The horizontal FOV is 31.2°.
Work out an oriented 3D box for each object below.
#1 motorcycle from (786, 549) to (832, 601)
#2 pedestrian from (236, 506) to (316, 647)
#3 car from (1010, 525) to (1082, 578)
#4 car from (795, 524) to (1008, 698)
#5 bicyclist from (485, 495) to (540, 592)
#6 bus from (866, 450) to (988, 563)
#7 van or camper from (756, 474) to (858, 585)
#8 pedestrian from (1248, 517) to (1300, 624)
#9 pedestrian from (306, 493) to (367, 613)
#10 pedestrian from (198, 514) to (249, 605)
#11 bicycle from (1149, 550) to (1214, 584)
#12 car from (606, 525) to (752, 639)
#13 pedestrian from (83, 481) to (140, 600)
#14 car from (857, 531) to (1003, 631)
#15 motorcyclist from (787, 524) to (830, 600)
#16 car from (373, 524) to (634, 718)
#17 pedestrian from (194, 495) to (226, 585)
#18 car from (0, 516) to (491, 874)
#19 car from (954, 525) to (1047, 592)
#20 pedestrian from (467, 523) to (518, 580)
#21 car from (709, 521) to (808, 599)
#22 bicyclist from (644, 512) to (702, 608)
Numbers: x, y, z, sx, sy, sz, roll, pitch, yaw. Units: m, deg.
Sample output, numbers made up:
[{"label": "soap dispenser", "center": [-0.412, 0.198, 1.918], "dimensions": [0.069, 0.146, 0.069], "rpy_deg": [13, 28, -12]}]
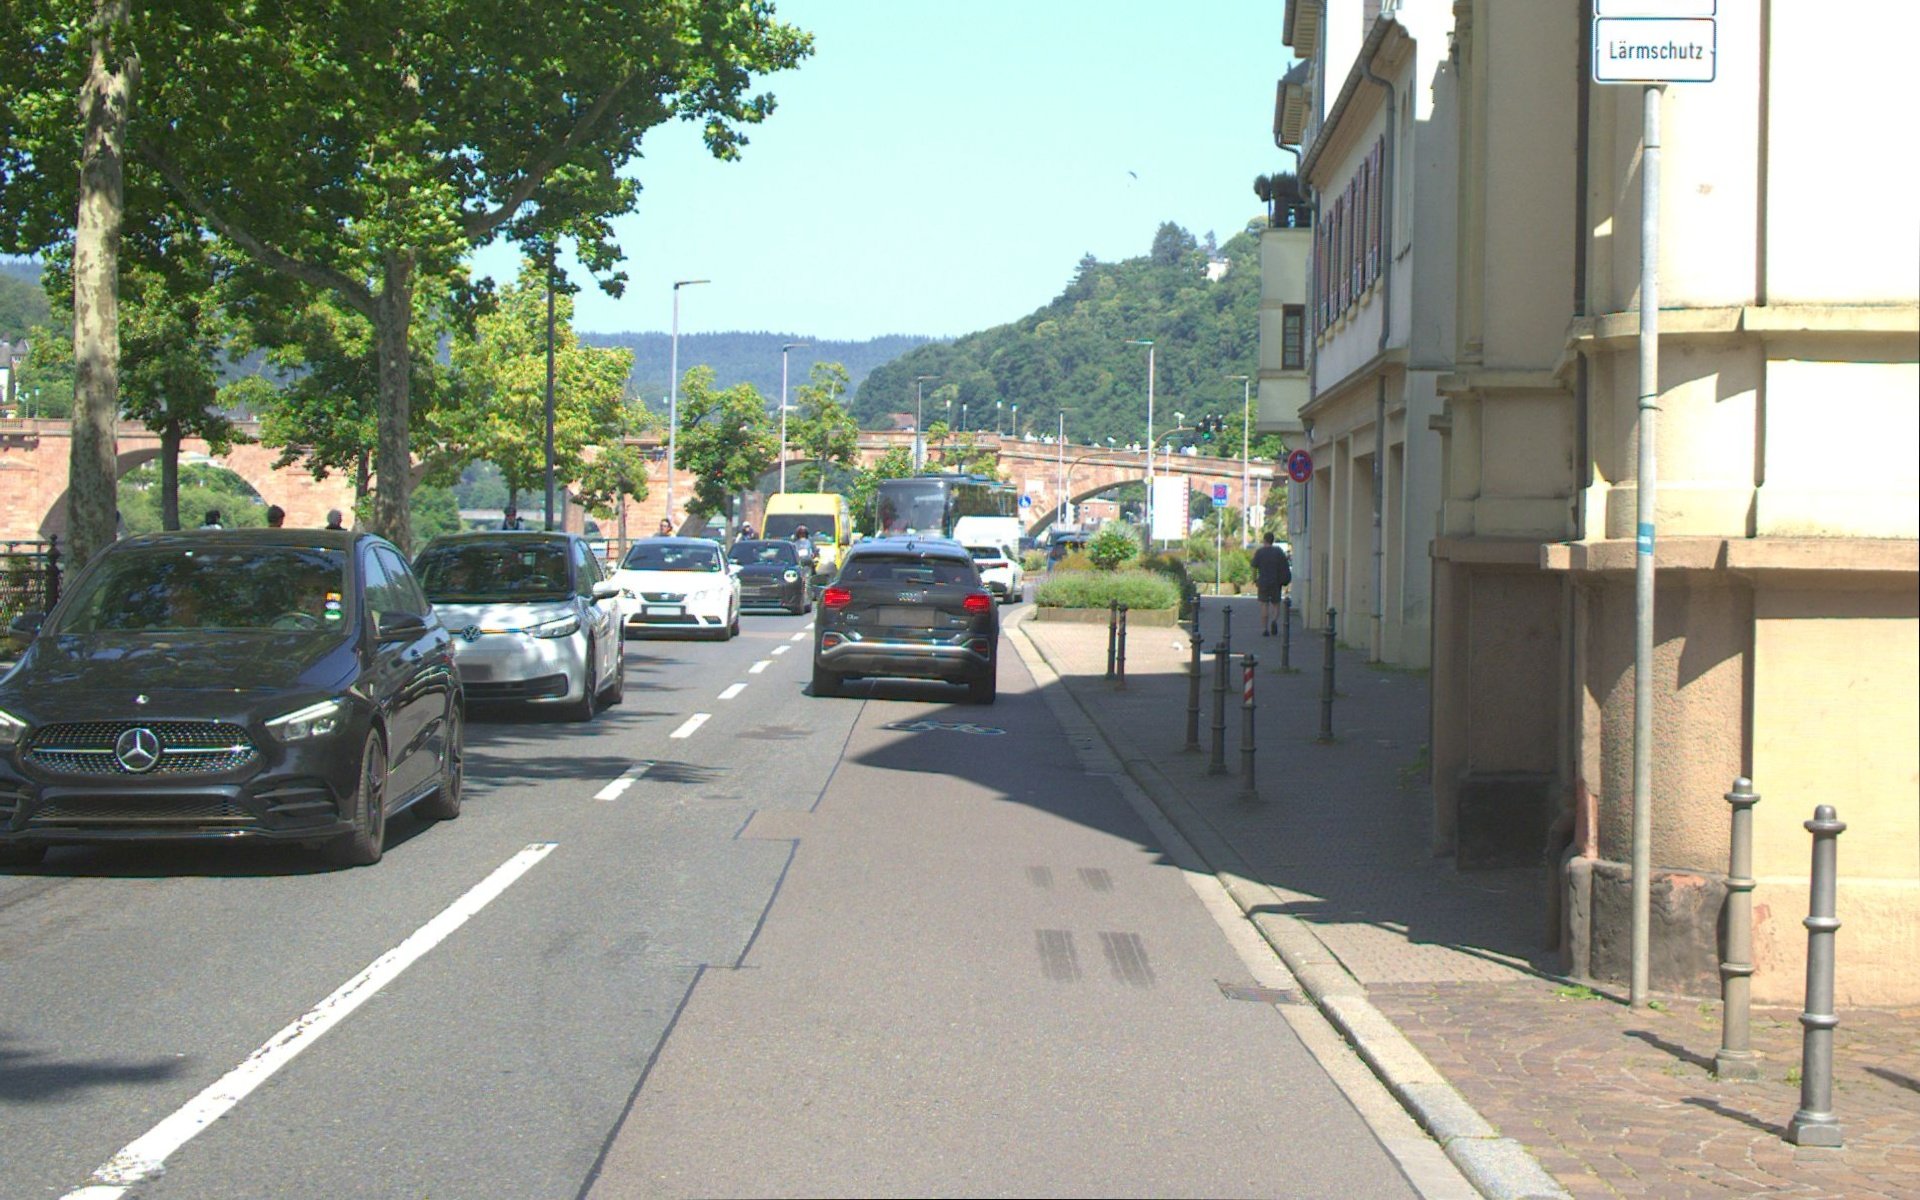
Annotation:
[{"label": "motorcycle", "center": [-3.218, -0.543, 73.205], "dimensions": [0.883, 1.073, 2.328], "rpy_deg": [0, 1, -4]}, {"label": "pedestrian", "center": [-7.808, -0.269, 39.288], "dimensions": [0.761, 1.581, 0.696], "rpy_deg": [1, 1, -1]}, {"label": "car", "center": [2.593, -1.476, 102.572], "dimensions": [1.927, 1.548, 4.831], "rpy_deg": [0, 1, 4]}, {"label": "car", "center": [-0.549, 0.082, 34.565], "dimensions": [1.926, 1.548, 4.832], "rpy_deg": [3, 0, 0]}, {"label": "bicyclist", "center": [-7.391, -0.928, 56.758], "dimensions": [0.719, 1.578, 1.089], "rpy_deg": [1, 1, 1]}, {"label": "bus", "center": [-1.015, -3.075, 116.906], "dimensions": [2.632, 3.552, 12.980], "rpy_deg": [1, 0, 6]}, {"label": "van or camper", "center": [-3.717, -1.726, 84.722], "dimensions": [2.087, 2.548, 7.092], "rpy_deg": [2, 1, 0]}, {"label": "pedestrian", "center": [5.112, -0.480, 56.066], "dimensions": [0.762, 1.708, 0.696], "rpy_deg": [-2, 1, 3]}, {"label": "pedestrian", "center": [-8.976, -0.672, 49.535], "dimensions": [0.656, 1.676, 0.758], "rpy_deg": [4, 1, -1]}, {"label": "pedestrian", "center": [-13.193, -0.729, 61.590], "dimensions": [0.694, 1.610, 0.663], "rpy_deg": [1, 1, 7]}, {"label": "bicycle", "center": [6.344, -0.937, 98.686], "dimensions": [1.810, 0.875, 0.502], "rpy_deg": [3, 2, 3]}, {"label": "car", "center": [-4.023, -0.293, 49.721], "dimensions": [1.701, 1.440, 4.092], "rpy_deg": [2, 2, 0]}, {"label": "pedestrian", "center": [-13.914, -0.976, 56.397], "dimensions": [0.693, 1.938, 0.887], "rpy_deg": [1, 1, -1]}, {"label": "car", "center": [-0.423, -0.333, 54.152], "dimensions": [1.927, 1.456, 4.831], "rpy_deg": [1, 1, 4]}, {"label": "motorcyclist", "center": [-3.213, -0.809, 72.986], "dimensions": [0.878, 1.578, 1.025], "rpy_deg": [1, 1, -2]}, {"label": "car", "center": [-3.783, 0.128, 29.099], "dimensions": [1.735, 1.513, 4.405], "rpy_deg": [0, 1, -2]}, {"label": "pedestrian", "center": [-13.328, -1.068, 61.106], "dimensions": [0.414, 1.592, 0.450], "rpy_deg": [1, 1, 7]}, {"label": "car", "center": [-3.505, 0.375, 16.988], "dimensions": [1.701, 1.513, 4.405], "rpy_deg": [-1, 1, 1]}, {"label": "car", "center": [0.995, -1.016, 81.568], "dimensions": [1.927, 1.548, 4.831], "rpy_deg": [0, 1, 4]}, {"label": "pedestrian", "center": [-10.672, -1.101, 78.511], "dimensions": [0.937, 1.276, 0.849], "rpy_deg": [1, 1, 8]}, {"label": "car", "center": [-3.876, -0.790, 66.711], "dimensions": [1.701, 1.453, 4.002], "rpy_deg": [1, 1, 0]}, {"label": "bicyclist", "center": [-4.781, -0.674, 57.286], "dimensions": [0.766, 1.526, 1.025], "rpy_deg": [3, 3, 4]}]
